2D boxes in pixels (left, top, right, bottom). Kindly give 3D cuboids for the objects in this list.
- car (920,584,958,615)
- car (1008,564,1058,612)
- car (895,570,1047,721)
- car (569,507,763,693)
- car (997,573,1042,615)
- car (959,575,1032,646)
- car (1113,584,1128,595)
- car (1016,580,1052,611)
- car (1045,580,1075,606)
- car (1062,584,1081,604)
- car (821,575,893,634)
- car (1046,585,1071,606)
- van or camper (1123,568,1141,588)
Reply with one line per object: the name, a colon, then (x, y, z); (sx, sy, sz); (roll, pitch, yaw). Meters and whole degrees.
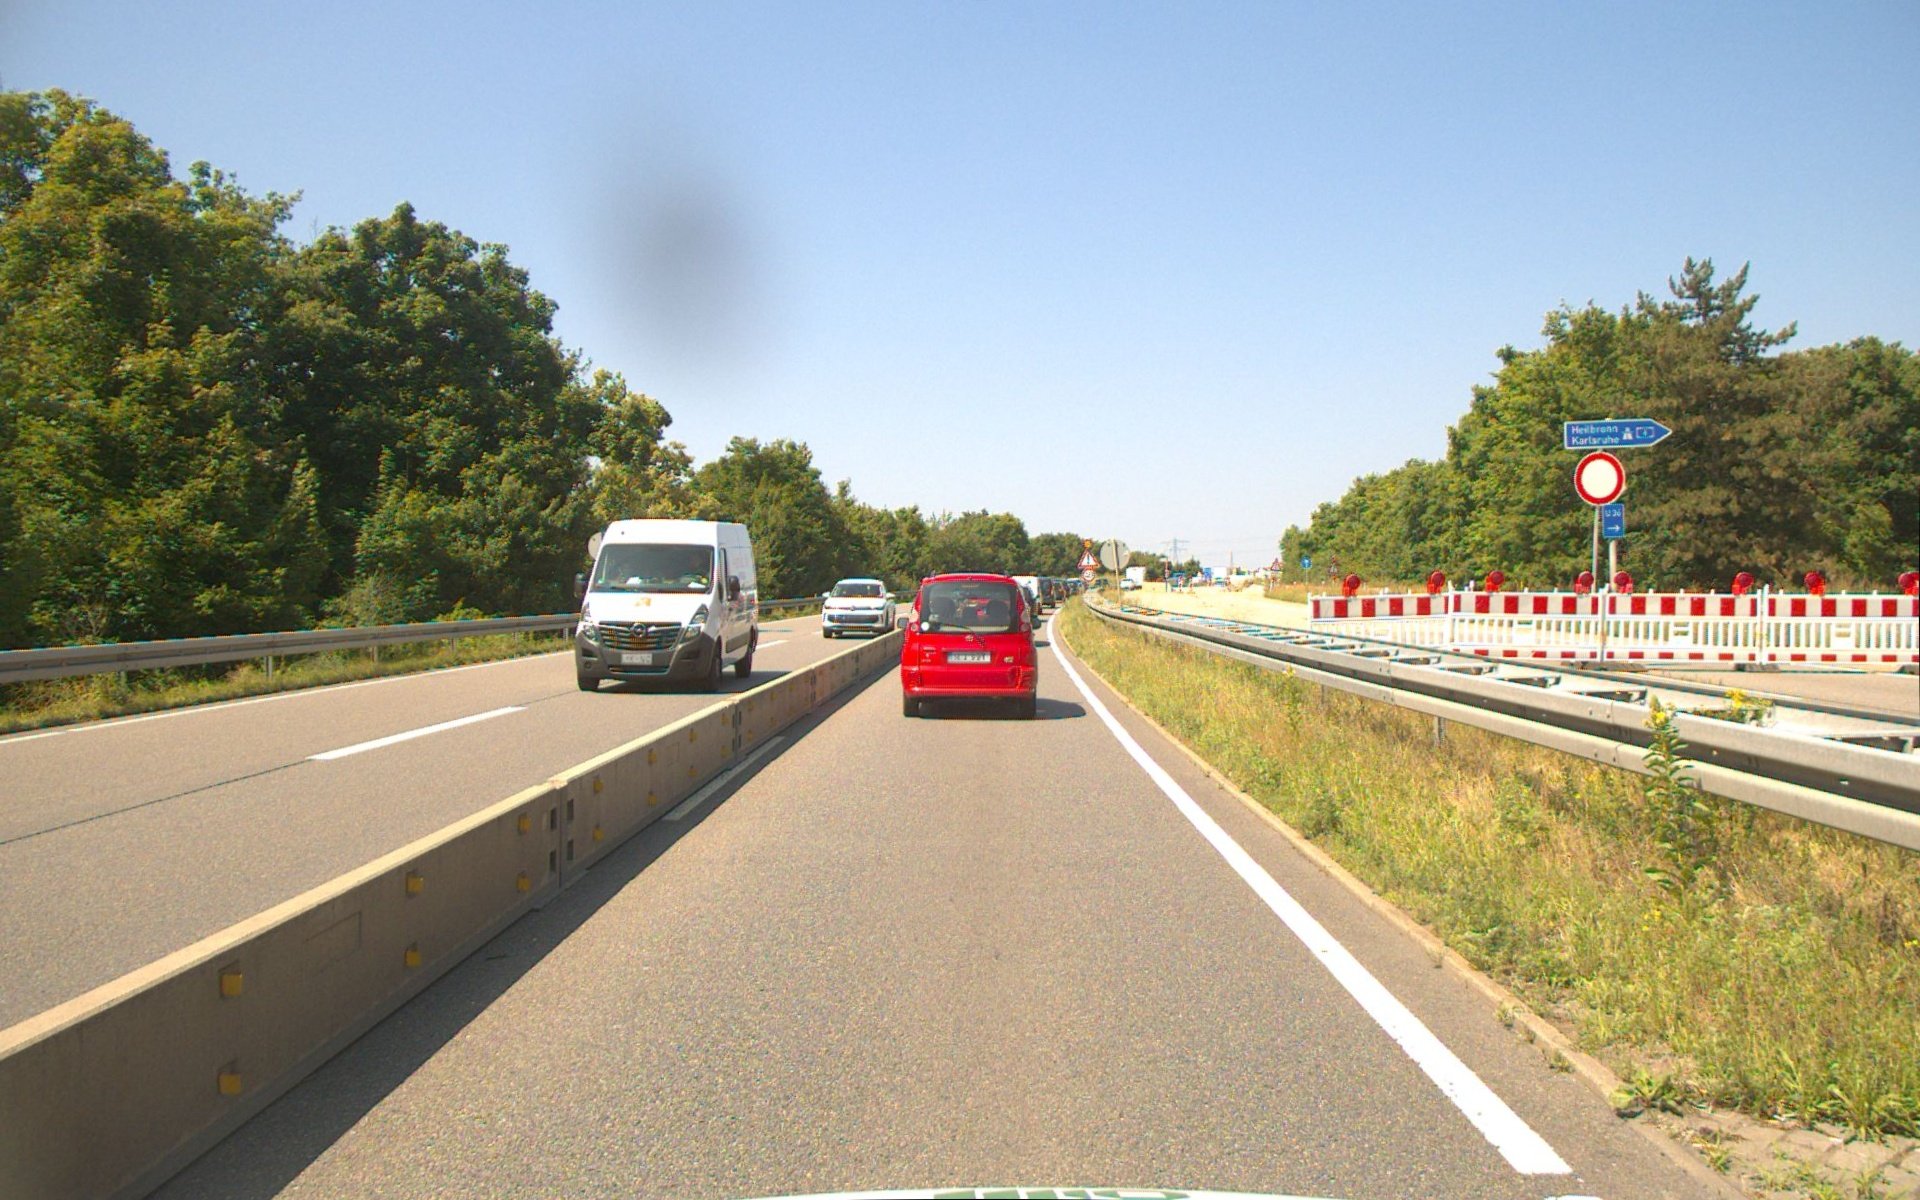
car: (-1.059, -0.015, 82.322); (1.779, 1.449, 4.108); (2, 0, -1)
car: (2.964, -0.489, 67.932); (1.952, 1.870, 4.001); (0, 0, 1)
car: (0.166, 0.482, 20.929); (1.715, 1.702, 4.001); (1, 1, 1)
car: (-4.355, -0.014, 25.449); (2.019, 2.529, 5.560); (0, 0, 0)
car: (2.901, -0.302, 81.494); (1.953, 2.038, 3.999); (0, 0, -2)
car: (0.926, 0.246, 43.311); (1.792, 1.752, 4.001); (1, 0, 1)
car: (21.504, -1.396, 221.622); (1.951, 1.512, 4.002); (-1, 0, 5)
car: (4.339, -0.267, 97.559); (1.952, 1.780, 4.000); (0, 0, 0)
car: (7.065, -0.485, 117.055); (1.952, 1.814, 4.000); (-1, 0, 0)
car: (9.686, -0.530, 143.359); (1.470, 1.767, 3.172); (1, 0, 6)
car: (-2.912, 0.119, 47.596); (1.810, 1.629, 4.322); (0, 0, 0)
car: (7.878, -0.363, 132.632); (1.952, 1.612, 4.002); (0, 0, 3)
van or camper: (24.350, -3.132, 233.948); (2.279, 2.754, 4.595); (-1, 0, 4)
